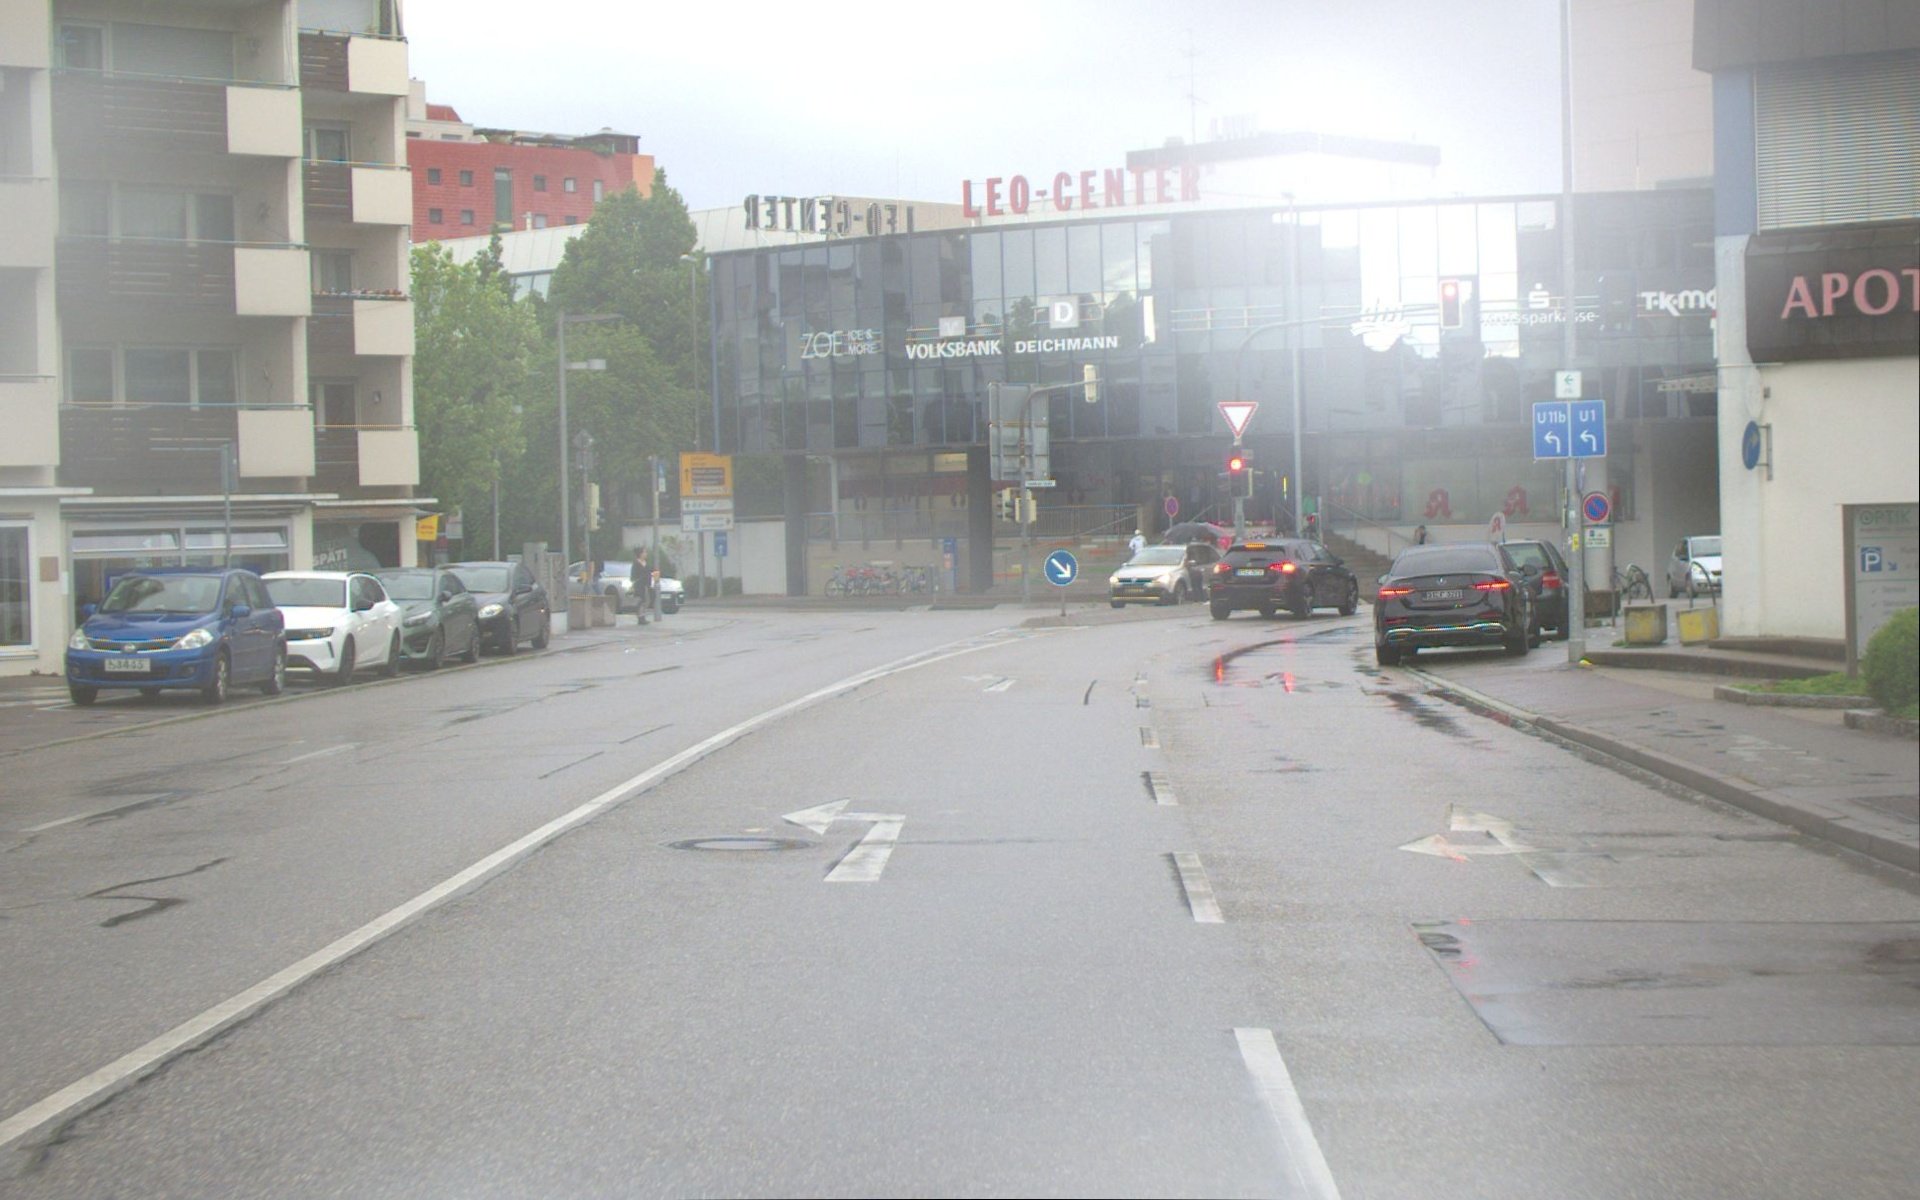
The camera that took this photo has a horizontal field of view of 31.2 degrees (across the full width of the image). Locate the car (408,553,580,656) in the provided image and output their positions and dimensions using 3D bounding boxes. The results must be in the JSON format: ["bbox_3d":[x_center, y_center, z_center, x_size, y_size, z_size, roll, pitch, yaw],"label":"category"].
[{"bbox_3d":[-7.489,0.045,55.604,1.935,1.536,4.272,-1,1,4],"label":"car"}]

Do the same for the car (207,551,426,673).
[{"bbox_3d":[-8.375,0.115,45.118,1.693,1.459,4.684,-1,1,4],"label":"car"}]

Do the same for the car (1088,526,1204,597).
[{"bbox_3d":[4.303,-0.904,79.201,1.826,1.434,3.838,-3,2,15],"label":"car"}]

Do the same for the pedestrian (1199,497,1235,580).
[{"bbox_3d":[5.271,-1.266,70.479,0.609,1.653,0.672,2,2,-1],"label":"pedestrian"}]

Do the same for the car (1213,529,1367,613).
[{"bbox_3d":[6.023,-0.549,62.353,1.806,1.414,3.996,-1,1,20],"label":"car"}]

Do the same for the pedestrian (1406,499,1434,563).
[{"bbox_3d":[14.780,-2.212,110.407,0.788,2.007,0.670,-2,1,14],"label":"pedestrian"}]

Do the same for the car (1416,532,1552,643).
[{"bbox_3d":[7.946,-0.221,51.934,1.699,1.481,3.998,-4,0,12],"label":"car"}]

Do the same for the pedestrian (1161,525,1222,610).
[{"bbox_3d":[4.683,-0.658,69.561,0.908,1.653,0.755,1,2,-24],"label":"pedestrian"}]

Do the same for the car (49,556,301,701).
[{"bbox_3d":[-8.910,0.283,39.365,1.652,1.515,4.324,-1,1,3],"label":"car"}]

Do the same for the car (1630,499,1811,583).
[{"bbox_3d":[18.933,-1.459,85.726,1.994,2.007,3.998,-2,1,-40],"label":"car"}]

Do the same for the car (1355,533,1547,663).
[{"bbox_3d":[6.191,-0.017,42.954,1.995,1.528,4.644,0,0,13],"label":"car"}]

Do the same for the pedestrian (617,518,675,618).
[{"bbox_3d":[-6.469,-0.653,70.815,0.749,2.007,0.920,3,1,24],"label":"pedestrian"}]

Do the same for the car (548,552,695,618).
[{"bbox_3d":[-9.062,-0.407,91.695,1.994,1.506,4.433,1,3,-34],"label":"car"}]

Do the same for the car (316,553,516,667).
[{"bbox_3d":[-7.922,0.116,50.467,1.935,1.536,4.520,-1,1,4],"label":"car"}]
